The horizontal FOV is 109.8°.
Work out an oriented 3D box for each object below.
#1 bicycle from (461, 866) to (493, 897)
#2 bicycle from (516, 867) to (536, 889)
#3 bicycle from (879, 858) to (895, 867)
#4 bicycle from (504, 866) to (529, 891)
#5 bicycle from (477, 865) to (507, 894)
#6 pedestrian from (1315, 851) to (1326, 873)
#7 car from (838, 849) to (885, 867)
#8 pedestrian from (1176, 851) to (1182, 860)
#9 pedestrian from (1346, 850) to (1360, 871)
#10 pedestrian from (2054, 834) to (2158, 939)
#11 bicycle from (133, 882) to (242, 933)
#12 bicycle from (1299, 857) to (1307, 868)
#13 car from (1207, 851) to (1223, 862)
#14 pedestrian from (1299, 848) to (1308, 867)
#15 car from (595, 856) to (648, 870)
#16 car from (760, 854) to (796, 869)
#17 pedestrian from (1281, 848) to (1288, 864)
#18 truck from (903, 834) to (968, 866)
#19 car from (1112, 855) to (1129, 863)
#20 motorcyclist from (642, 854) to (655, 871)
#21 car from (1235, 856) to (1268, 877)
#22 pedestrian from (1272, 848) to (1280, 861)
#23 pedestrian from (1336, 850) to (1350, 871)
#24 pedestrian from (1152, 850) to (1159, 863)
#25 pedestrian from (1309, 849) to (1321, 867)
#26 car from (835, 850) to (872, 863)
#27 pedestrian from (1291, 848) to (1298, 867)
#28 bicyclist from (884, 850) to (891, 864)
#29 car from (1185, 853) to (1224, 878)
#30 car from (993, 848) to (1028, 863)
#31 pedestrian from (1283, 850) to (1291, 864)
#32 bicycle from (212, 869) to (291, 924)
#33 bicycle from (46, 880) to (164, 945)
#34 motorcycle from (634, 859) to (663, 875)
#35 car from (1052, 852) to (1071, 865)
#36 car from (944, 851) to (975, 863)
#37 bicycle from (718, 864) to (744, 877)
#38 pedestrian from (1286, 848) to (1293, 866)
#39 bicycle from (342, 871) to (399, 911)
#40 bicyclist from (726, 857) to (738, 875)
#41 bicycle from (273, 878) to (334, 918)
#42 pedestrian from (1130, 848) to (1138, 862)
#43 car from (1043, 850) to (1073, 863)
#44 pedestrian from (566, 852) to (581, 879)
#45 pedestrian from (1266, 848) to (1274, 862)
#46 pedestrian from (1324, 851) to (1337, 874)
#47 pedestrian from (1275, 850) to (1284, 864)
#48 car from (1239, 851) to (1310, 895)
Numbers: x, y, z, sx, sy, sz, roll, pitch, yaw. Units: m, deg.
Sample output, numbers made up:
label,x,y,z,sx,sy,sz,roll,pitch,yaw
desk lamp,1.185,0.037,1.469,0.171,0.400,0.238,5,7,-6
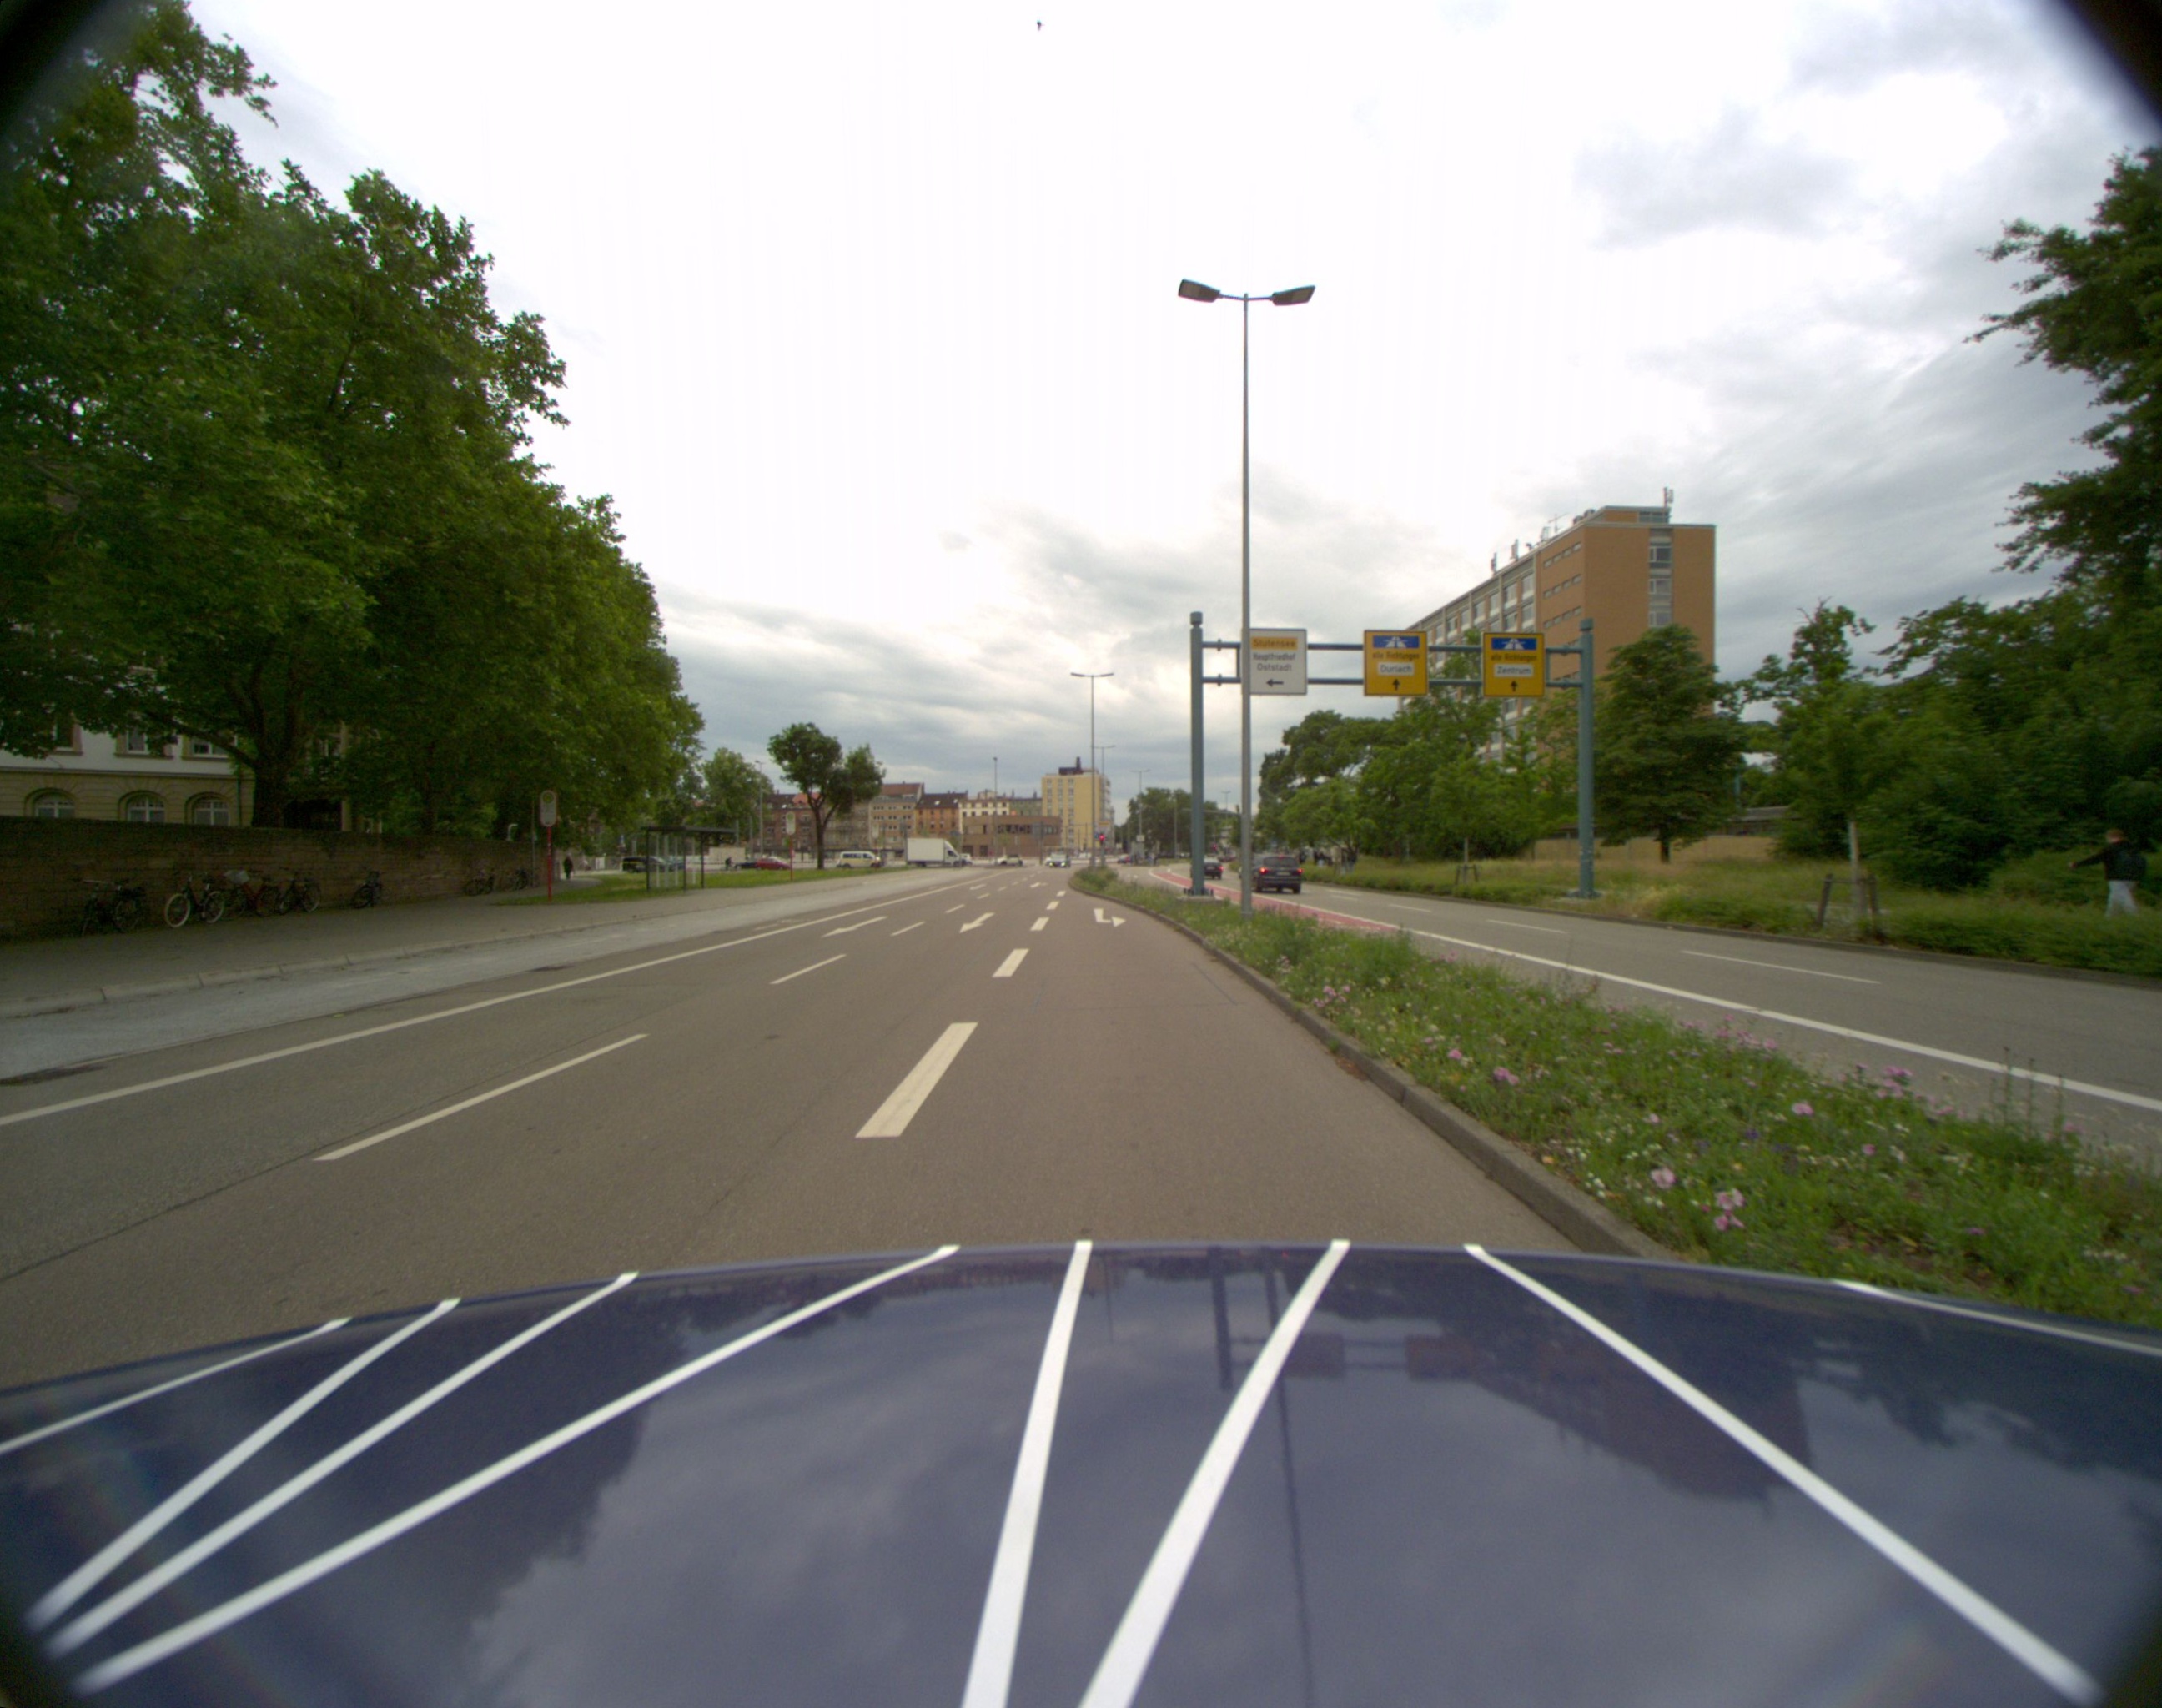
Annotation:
label,x,y,z,sx,sy,sz,roll,pitch,yaw
bicycle,-23.677,1.066,29.810,0.596,1.129,1.709,1,0,-25
bicycle,-26.377,1.136,36.138,0.552,0.986,1.633,1,0,-28
bicycle,-21.142,0.909,82.776,1.695,0.910,0.767,1,0,-10
bicycle,-25.665,1.112,34.568,0.596,1.053,1.709,1,0,-25
bicycle,-24.330,1.051,31.416,0.596,1.123,1.709,1,0,-25
pedestrian,18.078,0.622,57.375,0.587,1.650,0.720,1,0,-5
car,-24.565,0.414,85.130,4.712,1.909,1.919,-1,3,-3
pedestrian,20.390,0.339,157.840,0.986,2.002,0.910,1,1,32
pedestrian,18.187,0.427,50.751,0.646,1.354,0.680,1,0,-2
pedestrian,17.441,0.537,12.947,0.621,1.719,0.818,1,0,0
bicycle,-19.040,1.113,16.252,0.656,0.945,1.767,1,0,-17
bicycle,18.532,0.683,63.401,0.661,0.882,1.717,1,0,16
car,23.006,0.432,130.324,1.812,1.657,3.955,1,1,23
pedestrian,18.538,0.287,63.397,0.661,1.622,0.764,1,0,16
car,-49.621,0.991,82.110,4.531,1.405,1.897,1,0,-13
car,-33.829,0.838,84.829,3.431,1.372,1.288,-1,-7,-5
pedestrian,23.811,0.245,88.969,0.638,1.790,0.762,-1,0,4
truck,-16.316,-0.510,85.573,6.852,3.393,2.559,-1,2,-5
car,6.618,0.804,126.936,1.782,1.255,3.536,-1,1,19
motorcyclist,-46.186,0.915,81.136,0.918,1.818,0.928,1,0,-12
car,11.537,0.810,51.552,1.611,1.373,3.809,1,0,4
pedestrian,24.105,0.067,93.806,0.708,1.661,0.890,-2,0,4
pedestrian,17.500,0.421,50.802,0.646,1.350,0.711,1,0,-1
pedestrian,9.826,0.359,100.109,0.777,1.657,0.706,1,0,-8
pedestrian,21.344,0.327,69.221,0.635,1.603,0.829,-2,0,-21
car,-26.981,0.241,90.229,4.034,1.466,1.818,1,0,-13
pedestrian,17.804,0.316,63.405,0.575,1.599,0.617,1,0,16
bicyclist,-21.094,0.358,82.787,0.740,1.499,0.767,1,0,-10
car,8.232,0.734,50.969,1.768,1.452,4.790,1,1,-1
car,-8.721,0.156,94.309,3.918,1.753,1.835,1,0,-33
pedestrian,21.493,0.297,79.162,0.637,1.471,0.762,1,0,4
bicycle,-19.589,0.983,17.990,0.501,1.214,1.624,1,0,-17
bicycle,-18.460,1.067,14.427,0.722,1.093,1.788,1,0,-28
motorcycle,-46.196,1.404,81.156,2.515,1.592,0.928,1,0,-12
car,-2.087,0.466,82.028,1.785,1.255,3.830,-1,0,1
car,-14.599,0.310,91.070,3.434,1.382,1.516,1,0,-18
bicycle,-37.721,1.789,81.921,2.391,1.316,0.764,1,0,-6
pedestrian,19.824,0.245,72.203,0.622,1.685,0.748,1,0,19
bicycle,-20.512,1.048,21.970,0.599,1.098,1.652,1,0,-19
bicyclist,-37.614,1.289,81.931,0.896,1.849,0.764,1,0,-5
bicycle,-20.103,1.119,19.684,0.417,0.937,1.523,1,0,-17
pedestrian,6.955,0.096,99.648,0.917,1.794,0.541,1,1,17
car,-2.990,0.337,100.382,1.861,1.557,4.009,1,0,36
pedestrian,-32.822,0.763,49.140,0.759,1.725,0.820,1,1,-39
pedestrian,23.335,0.120,93.896,0.708,1.661,0.943,-1,0,4
pedestrian,18.824,0.633,57.314,0.709,1.663,0.767,1,0,-5
pedestrian,20.722,0.317,79.206,0.730,1.471,0.813,1,0,4
car,8.161,0.744,32.482,1.925,1.655,4.398,1,1,1
